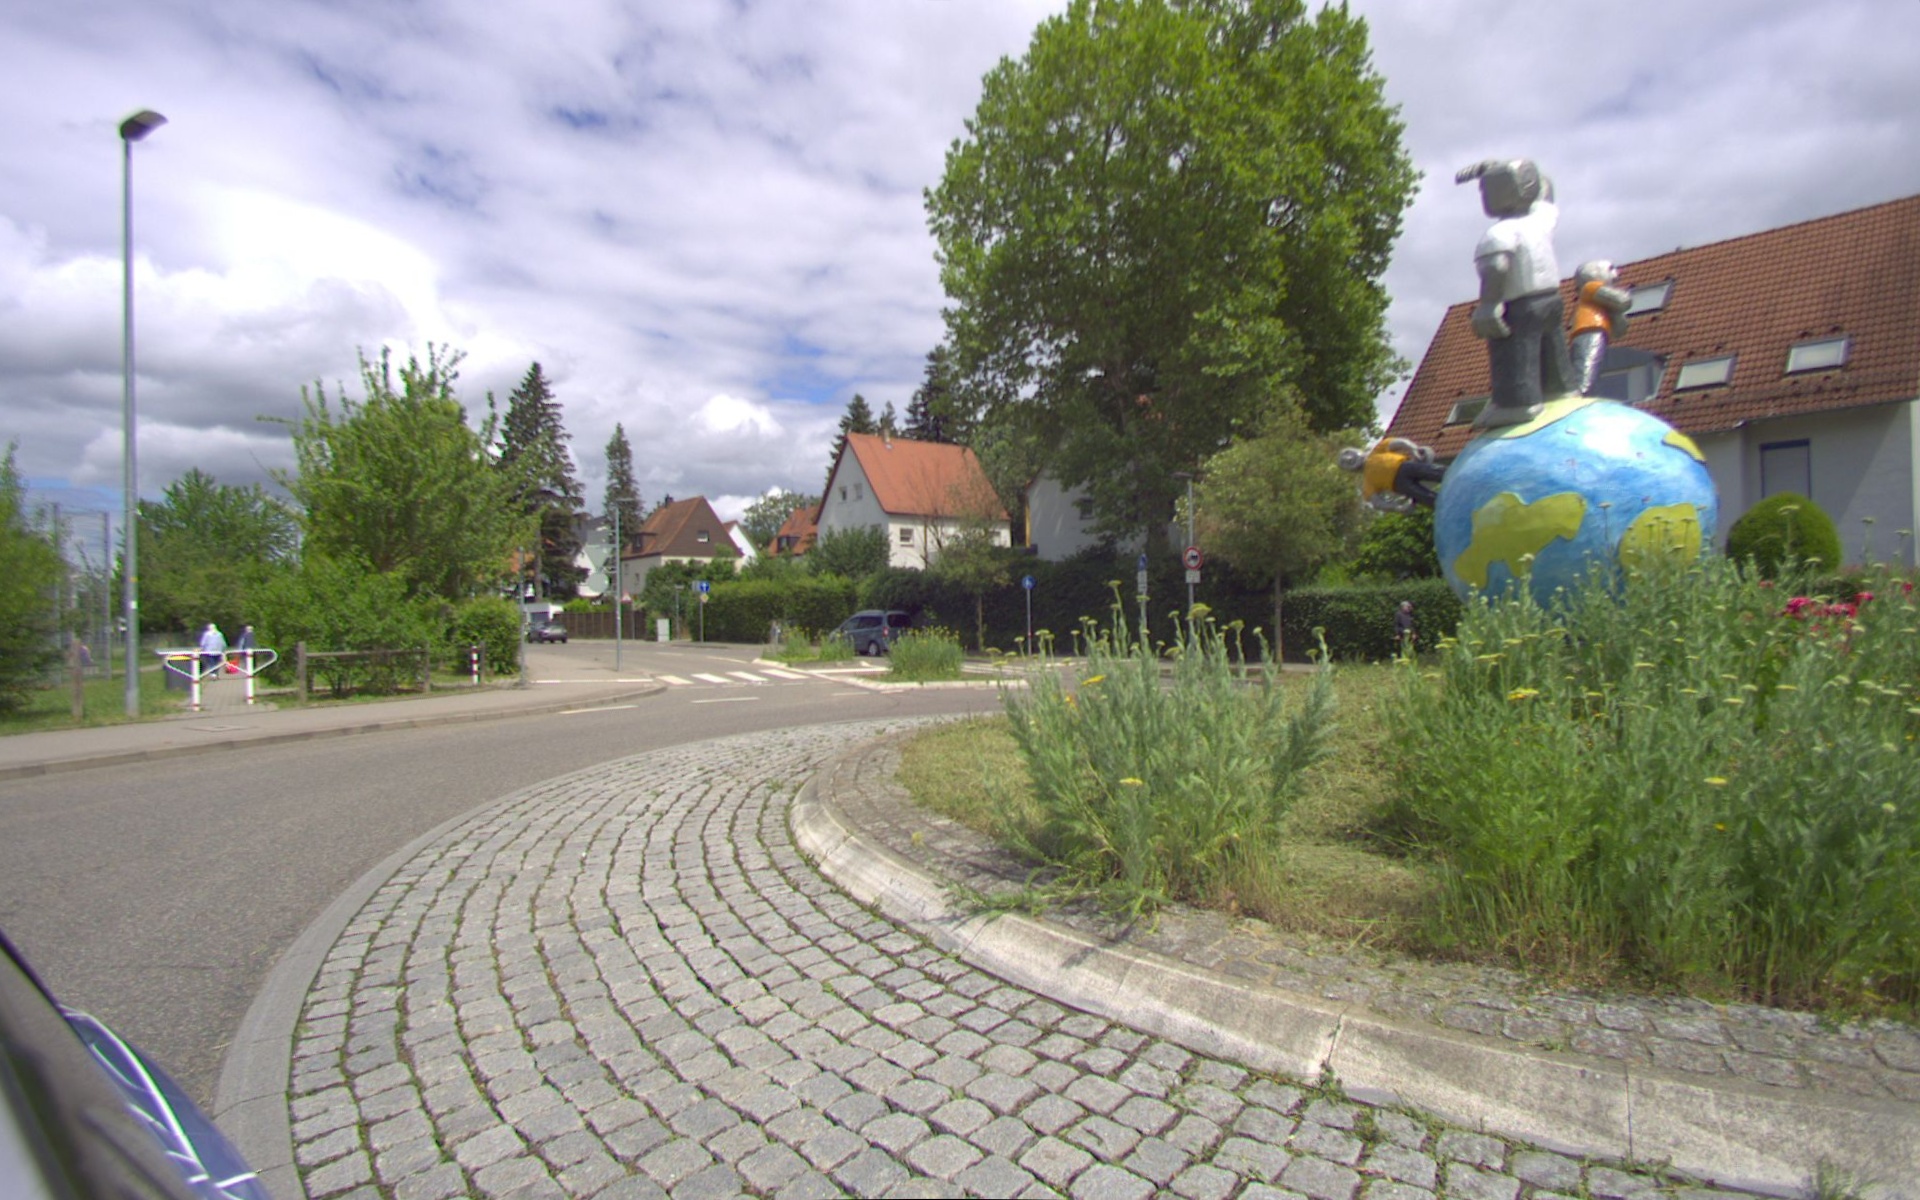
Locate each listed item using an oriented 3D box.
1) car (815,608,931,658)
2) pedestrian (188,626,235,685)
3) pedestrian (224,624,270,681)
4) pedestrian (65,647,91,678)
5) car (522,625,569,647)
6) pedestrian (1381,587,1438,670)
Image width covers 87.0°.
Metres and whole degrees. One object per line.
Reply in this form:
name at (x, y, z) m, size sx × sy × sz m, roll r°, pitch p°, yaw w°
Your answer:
car at (-3.475, 1.323, 40.087) m, size 4.465 × 1.786 × 2.108 m, roll -3°, pitch 0°, yaw 44°
pedestrian at (-22.649, 1.661, 30.611) m, size 0.930 × 1.706 × 0.884 m, roll -3°, pitch 0°, yaw 39°
pedestrian at (-22.332, 1.642, 31.696) m, size 0.930 × 1.706 × 0.884 m, roll -3°, pitch 0°, yaw 39°
pedestrian at (-35.761, 2.523, 41.032) m, size 0.556 × 1.243 × 0.801 m, roll 0°, pitch -2°, yaw -23°
car at (-28.718, 2.489, 70.053) m, size 1.967 × 1.491 × 4.657 m, roll 1°, pitch -2°, yaw -36°
pedestrian at (11.315, 0.721, 25.490) m, size 0.861 × 2.029 × 1.042 m, roll 1°, pitch -2°, yaw -43°
